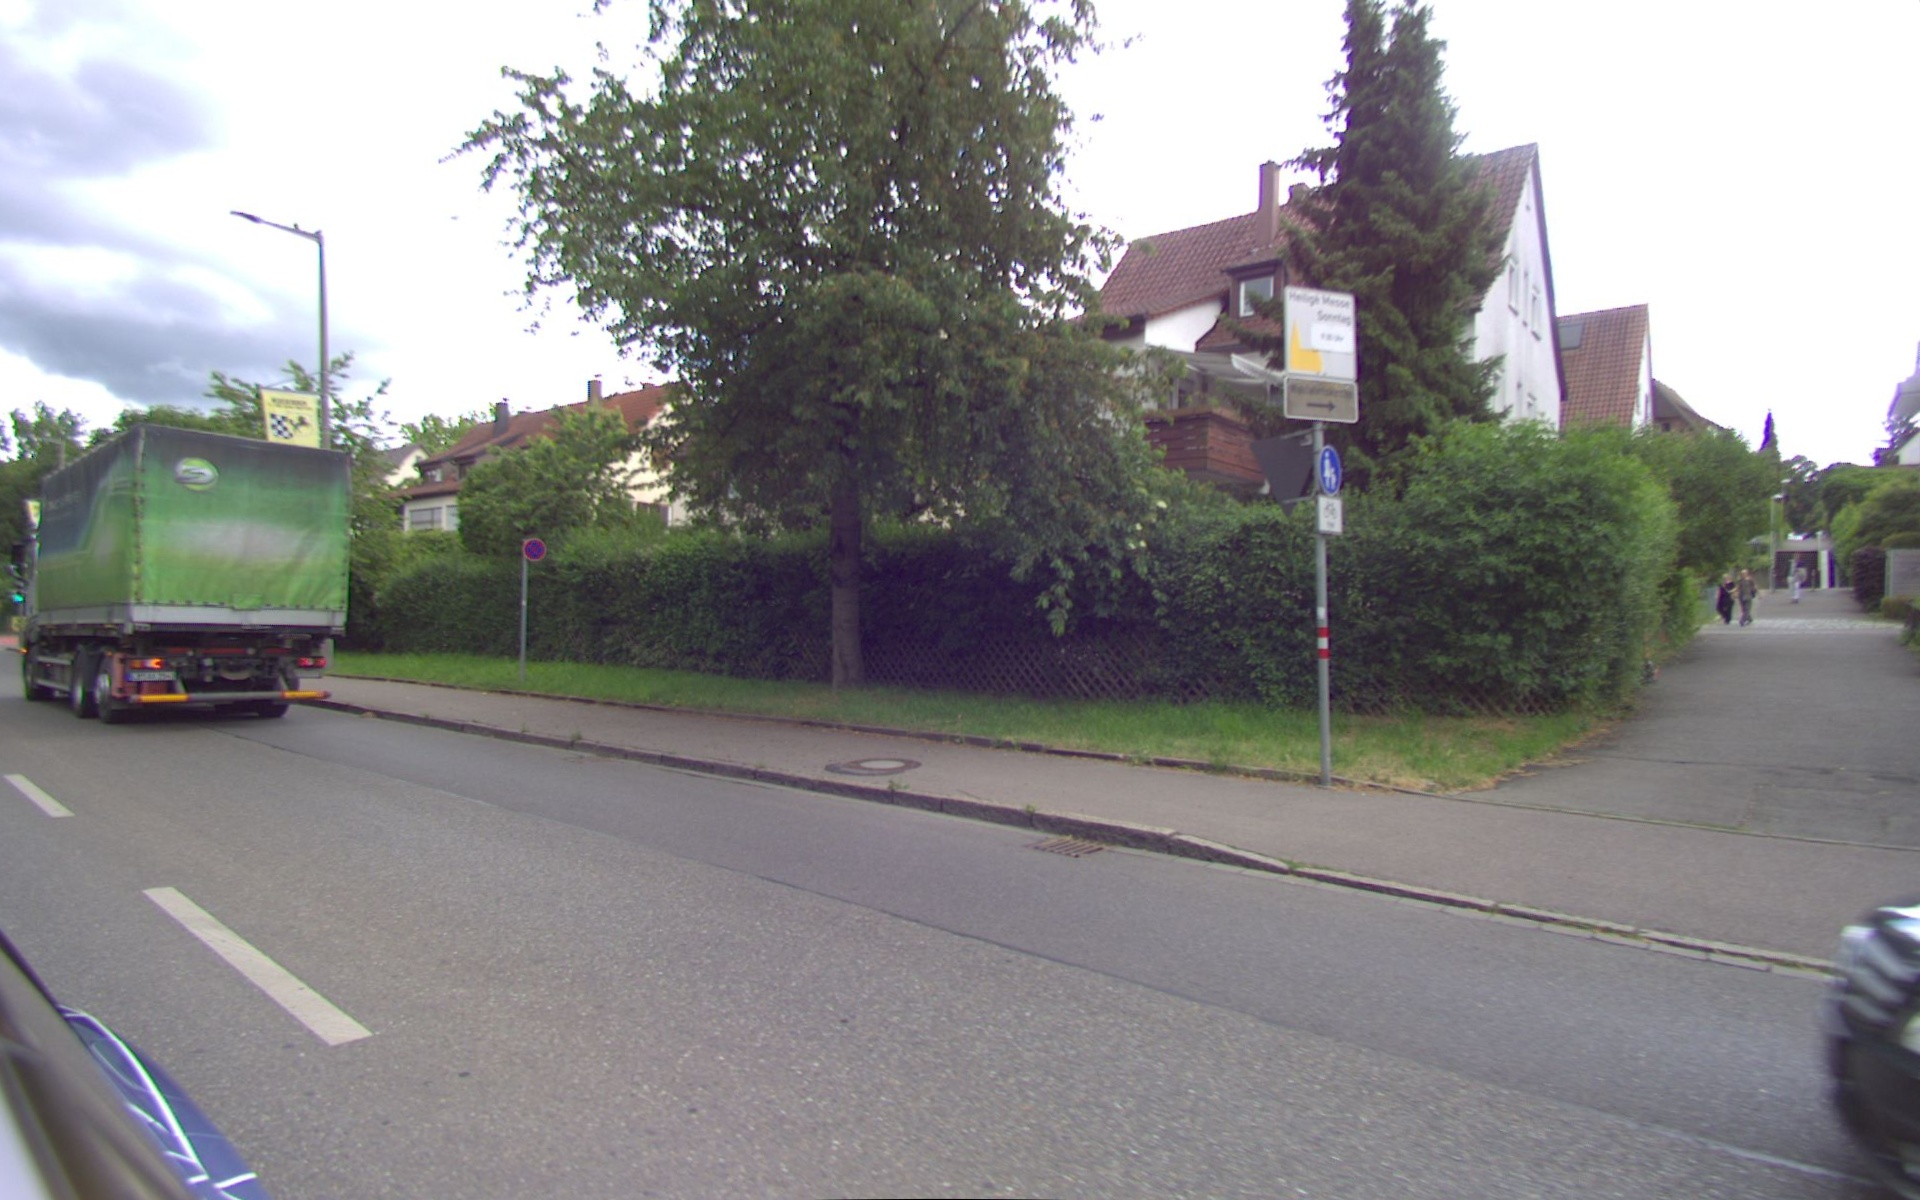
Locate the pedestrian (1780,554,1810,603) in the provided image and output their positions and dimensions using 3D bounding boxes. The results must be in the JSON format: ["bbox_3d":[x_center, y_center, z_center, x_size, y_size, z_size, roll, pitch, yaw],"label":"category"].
[{"bbox_3d":[31.639,-0.804,38.340,0.804,1.811,0.636,-1,-1,44],"label":"pedestrian"}]

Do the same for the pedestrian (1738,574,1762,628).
[{"bbox_3d":[23.993,0.047,30.720,0.517,1.626,0.393,-1,-1,44],"label":"pedestrian"}]

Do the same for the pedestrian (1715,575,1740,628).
[{"bbox_3d":[23.912,0.054,31.527,0.569,1.626,0.393,-1,-1,44],"label":"pedestrian"}]

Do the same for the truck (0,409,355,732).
[{"bbox_3d":[-13.745,-0.300,17.150,10.612,4.074,2.524,0,-3,40],"label":"truck"}]
